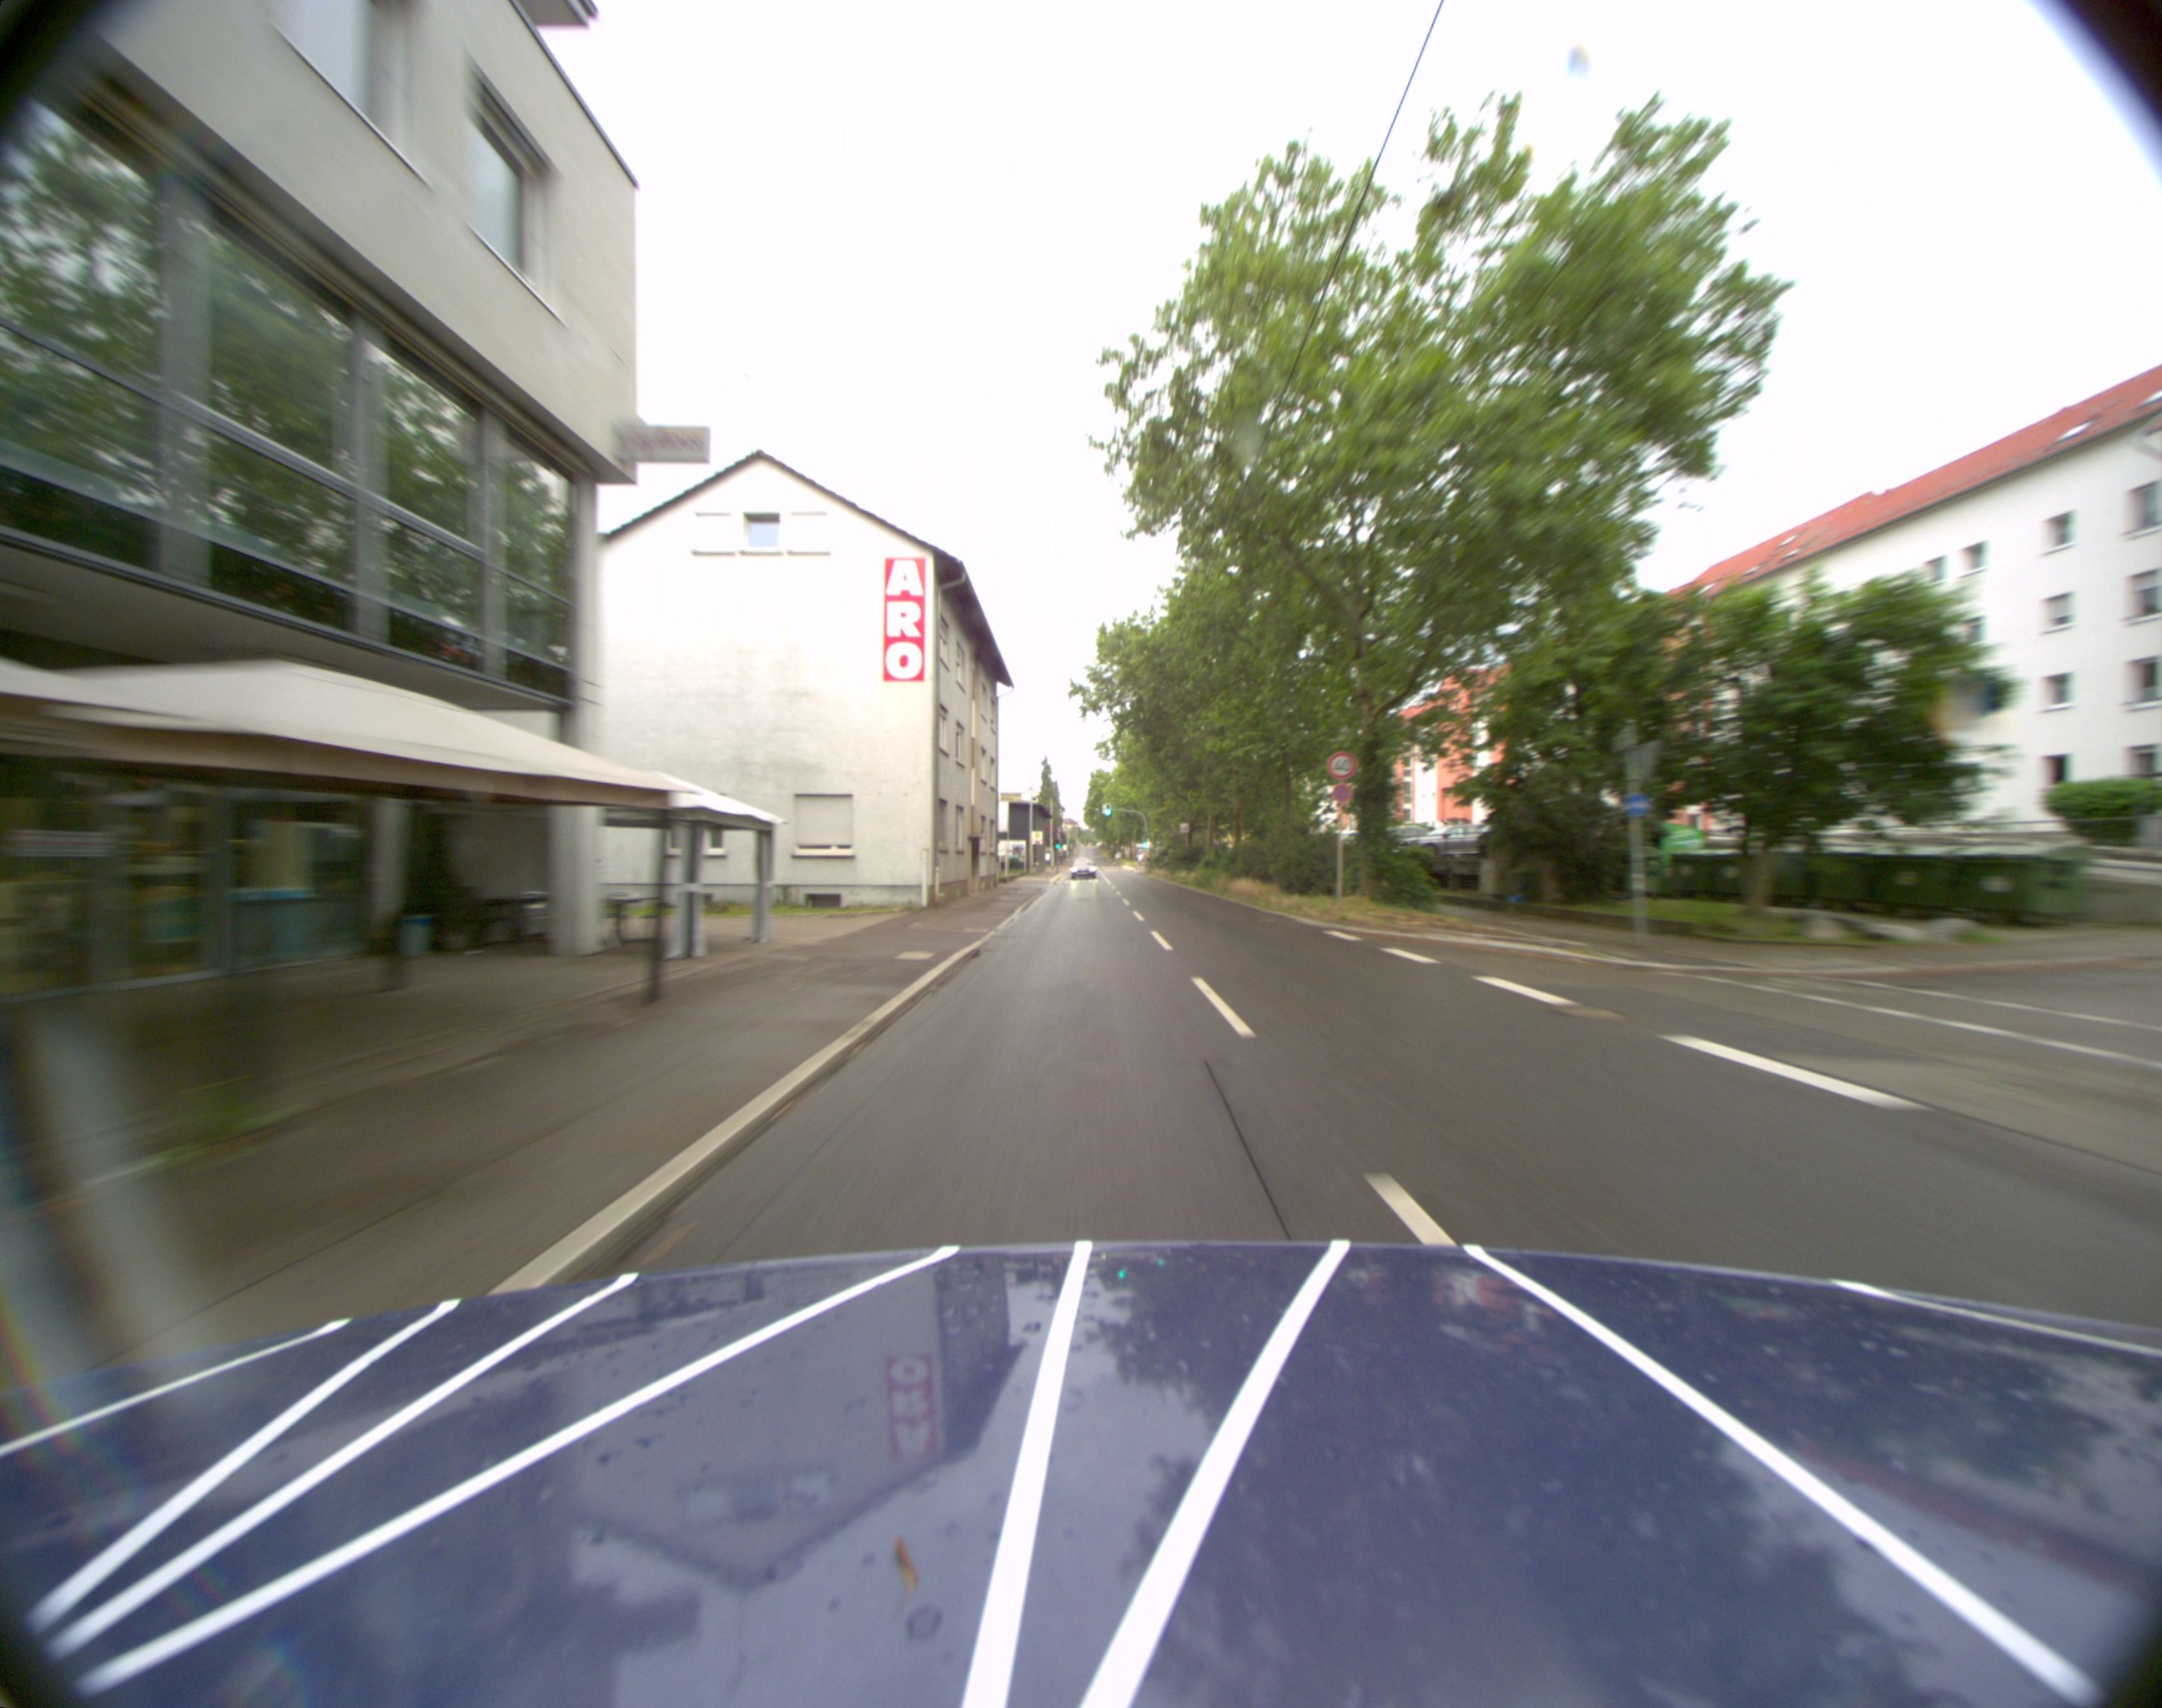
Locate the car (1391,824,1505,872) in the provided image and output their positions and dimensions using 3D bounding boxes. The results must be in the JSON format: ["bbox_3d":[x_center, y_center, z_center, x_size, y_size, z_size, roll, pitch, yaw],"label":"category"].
[{"bbox_3d":[15.796,-0.237,32.868,3.995,2.002,1.957,0,0,6],"label":"car"}]

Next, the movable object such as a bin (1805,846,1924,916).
[{"bbox_3d":[17.140,0.571,16.674,1.164,1.379,1.301,-5,0,-1],"label":"movable object such as a bin"}]

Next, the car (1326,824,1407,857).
[{"bbox_3d":[15.850,-0.736,42.293,3.802,1.679,1.738,-2,1,-2],"label":"car"}]

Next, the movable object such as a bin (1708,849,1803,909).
[{"bbox_3d":[17.227,0.618,19.449,1.164,1.379,1.301,-5,0,-1],"label":"movable object such as a bin"}]

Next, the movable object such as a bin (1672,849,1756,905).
[{"bbox_3d":[17.232,0.602,20.739,1.164,1.379,1.226,-5,0,-1],"label":"movable object such as a bin"}]

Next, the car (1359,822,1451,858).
[{"bbox_3d":[16.865,-0.718,39.727,3.997,1.784,1.959,0,0,1],"label":"car"}]

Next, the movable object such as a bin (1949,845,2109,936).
[{"bbox_3d":[17.092,0.631,13.746,1.164,1.455,1.301,-5,0,-1],"label":"movable object such as a bin"}]

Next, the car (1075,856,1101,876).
[{"bbox_3d":[0.489,0.853,55.760,1.692,1.334,3.999,0,0,-2],"label":"car"}]

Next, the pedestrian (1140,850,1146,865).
[{"bbox_3d":[6.995,0.426,85.258,0.648,1.674,0.631,0,1,0],"label":"pedestrian"}]

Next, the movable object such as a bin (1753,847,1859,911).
[{"bbox_3d":[17.184,0.573,18.049,1.164,1.379,1.301,-5,0,-1],"label":"movable object such as a bin"}]

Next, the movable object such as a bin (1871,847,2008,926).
[{"bbox_3d":[17.085,0.615,15.174,1.164,1.407,1.301,-5,0,-1],"label":"movable object such as a bin"}]
